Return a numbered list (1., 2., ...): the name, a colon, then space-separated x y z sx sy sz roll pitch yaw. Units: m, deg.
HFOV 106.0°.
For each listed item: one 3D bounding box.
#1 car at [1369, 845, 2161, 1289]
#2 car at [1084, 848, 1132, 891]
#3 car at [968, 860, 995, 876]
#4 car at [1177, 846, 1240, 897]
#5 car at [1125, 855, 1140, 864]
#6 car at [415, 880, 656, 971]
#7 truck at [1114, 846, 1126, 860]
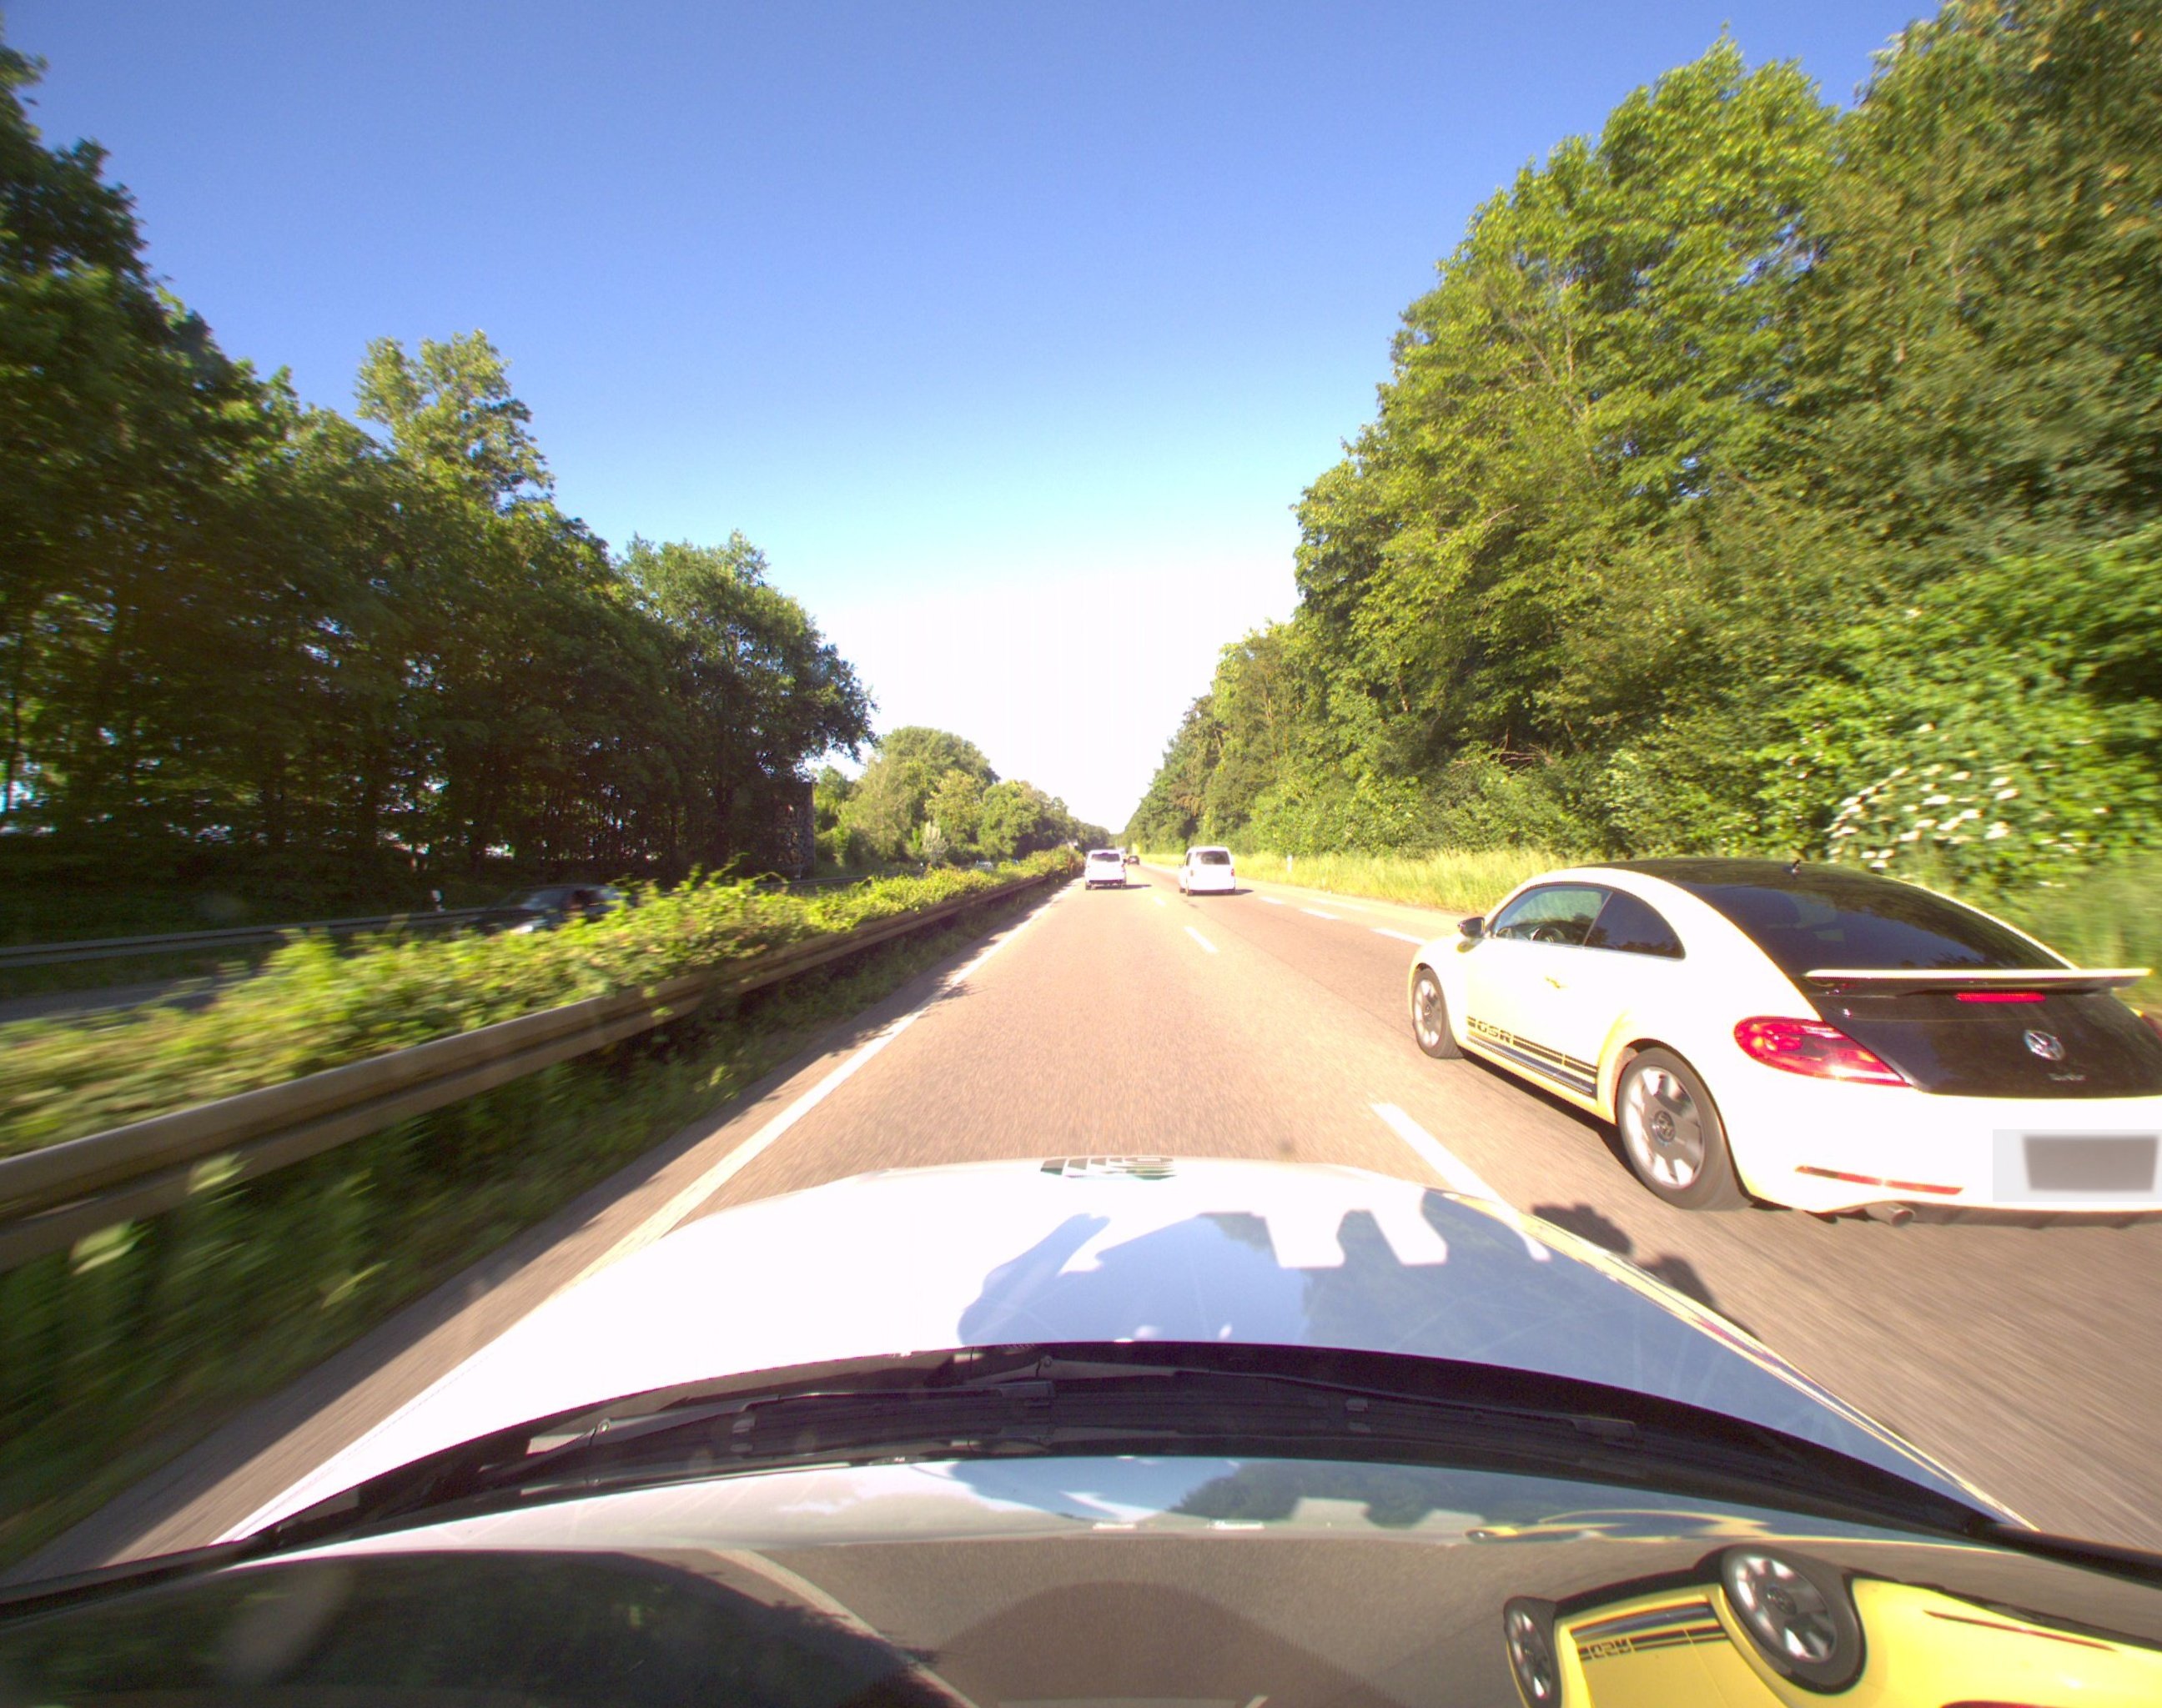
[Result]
1. car: 3.439 0.717 4.928 1.873 1.461 4.356 -1 0 1
2. car: 1.184 0.690 37.568 2.079 1.828 3.999 -1 0 0
3. car: -9.485 1.318 77.871 1.954 1.450 4.505 -1 0 0
4. car: 4.798 0.623 31.153 1.856 1.770 4.472 -1 0 2
5. car: 7.824 0.811 123.908 1.986 1.398 4.002 -2 0 2
6. car: -10.868 1.340 16.701 1.954 1.450 4.326 -1 0 1
7. truck: 11.599 -0.255 242.191 3.483 4.172 8.865 -2 0 2
